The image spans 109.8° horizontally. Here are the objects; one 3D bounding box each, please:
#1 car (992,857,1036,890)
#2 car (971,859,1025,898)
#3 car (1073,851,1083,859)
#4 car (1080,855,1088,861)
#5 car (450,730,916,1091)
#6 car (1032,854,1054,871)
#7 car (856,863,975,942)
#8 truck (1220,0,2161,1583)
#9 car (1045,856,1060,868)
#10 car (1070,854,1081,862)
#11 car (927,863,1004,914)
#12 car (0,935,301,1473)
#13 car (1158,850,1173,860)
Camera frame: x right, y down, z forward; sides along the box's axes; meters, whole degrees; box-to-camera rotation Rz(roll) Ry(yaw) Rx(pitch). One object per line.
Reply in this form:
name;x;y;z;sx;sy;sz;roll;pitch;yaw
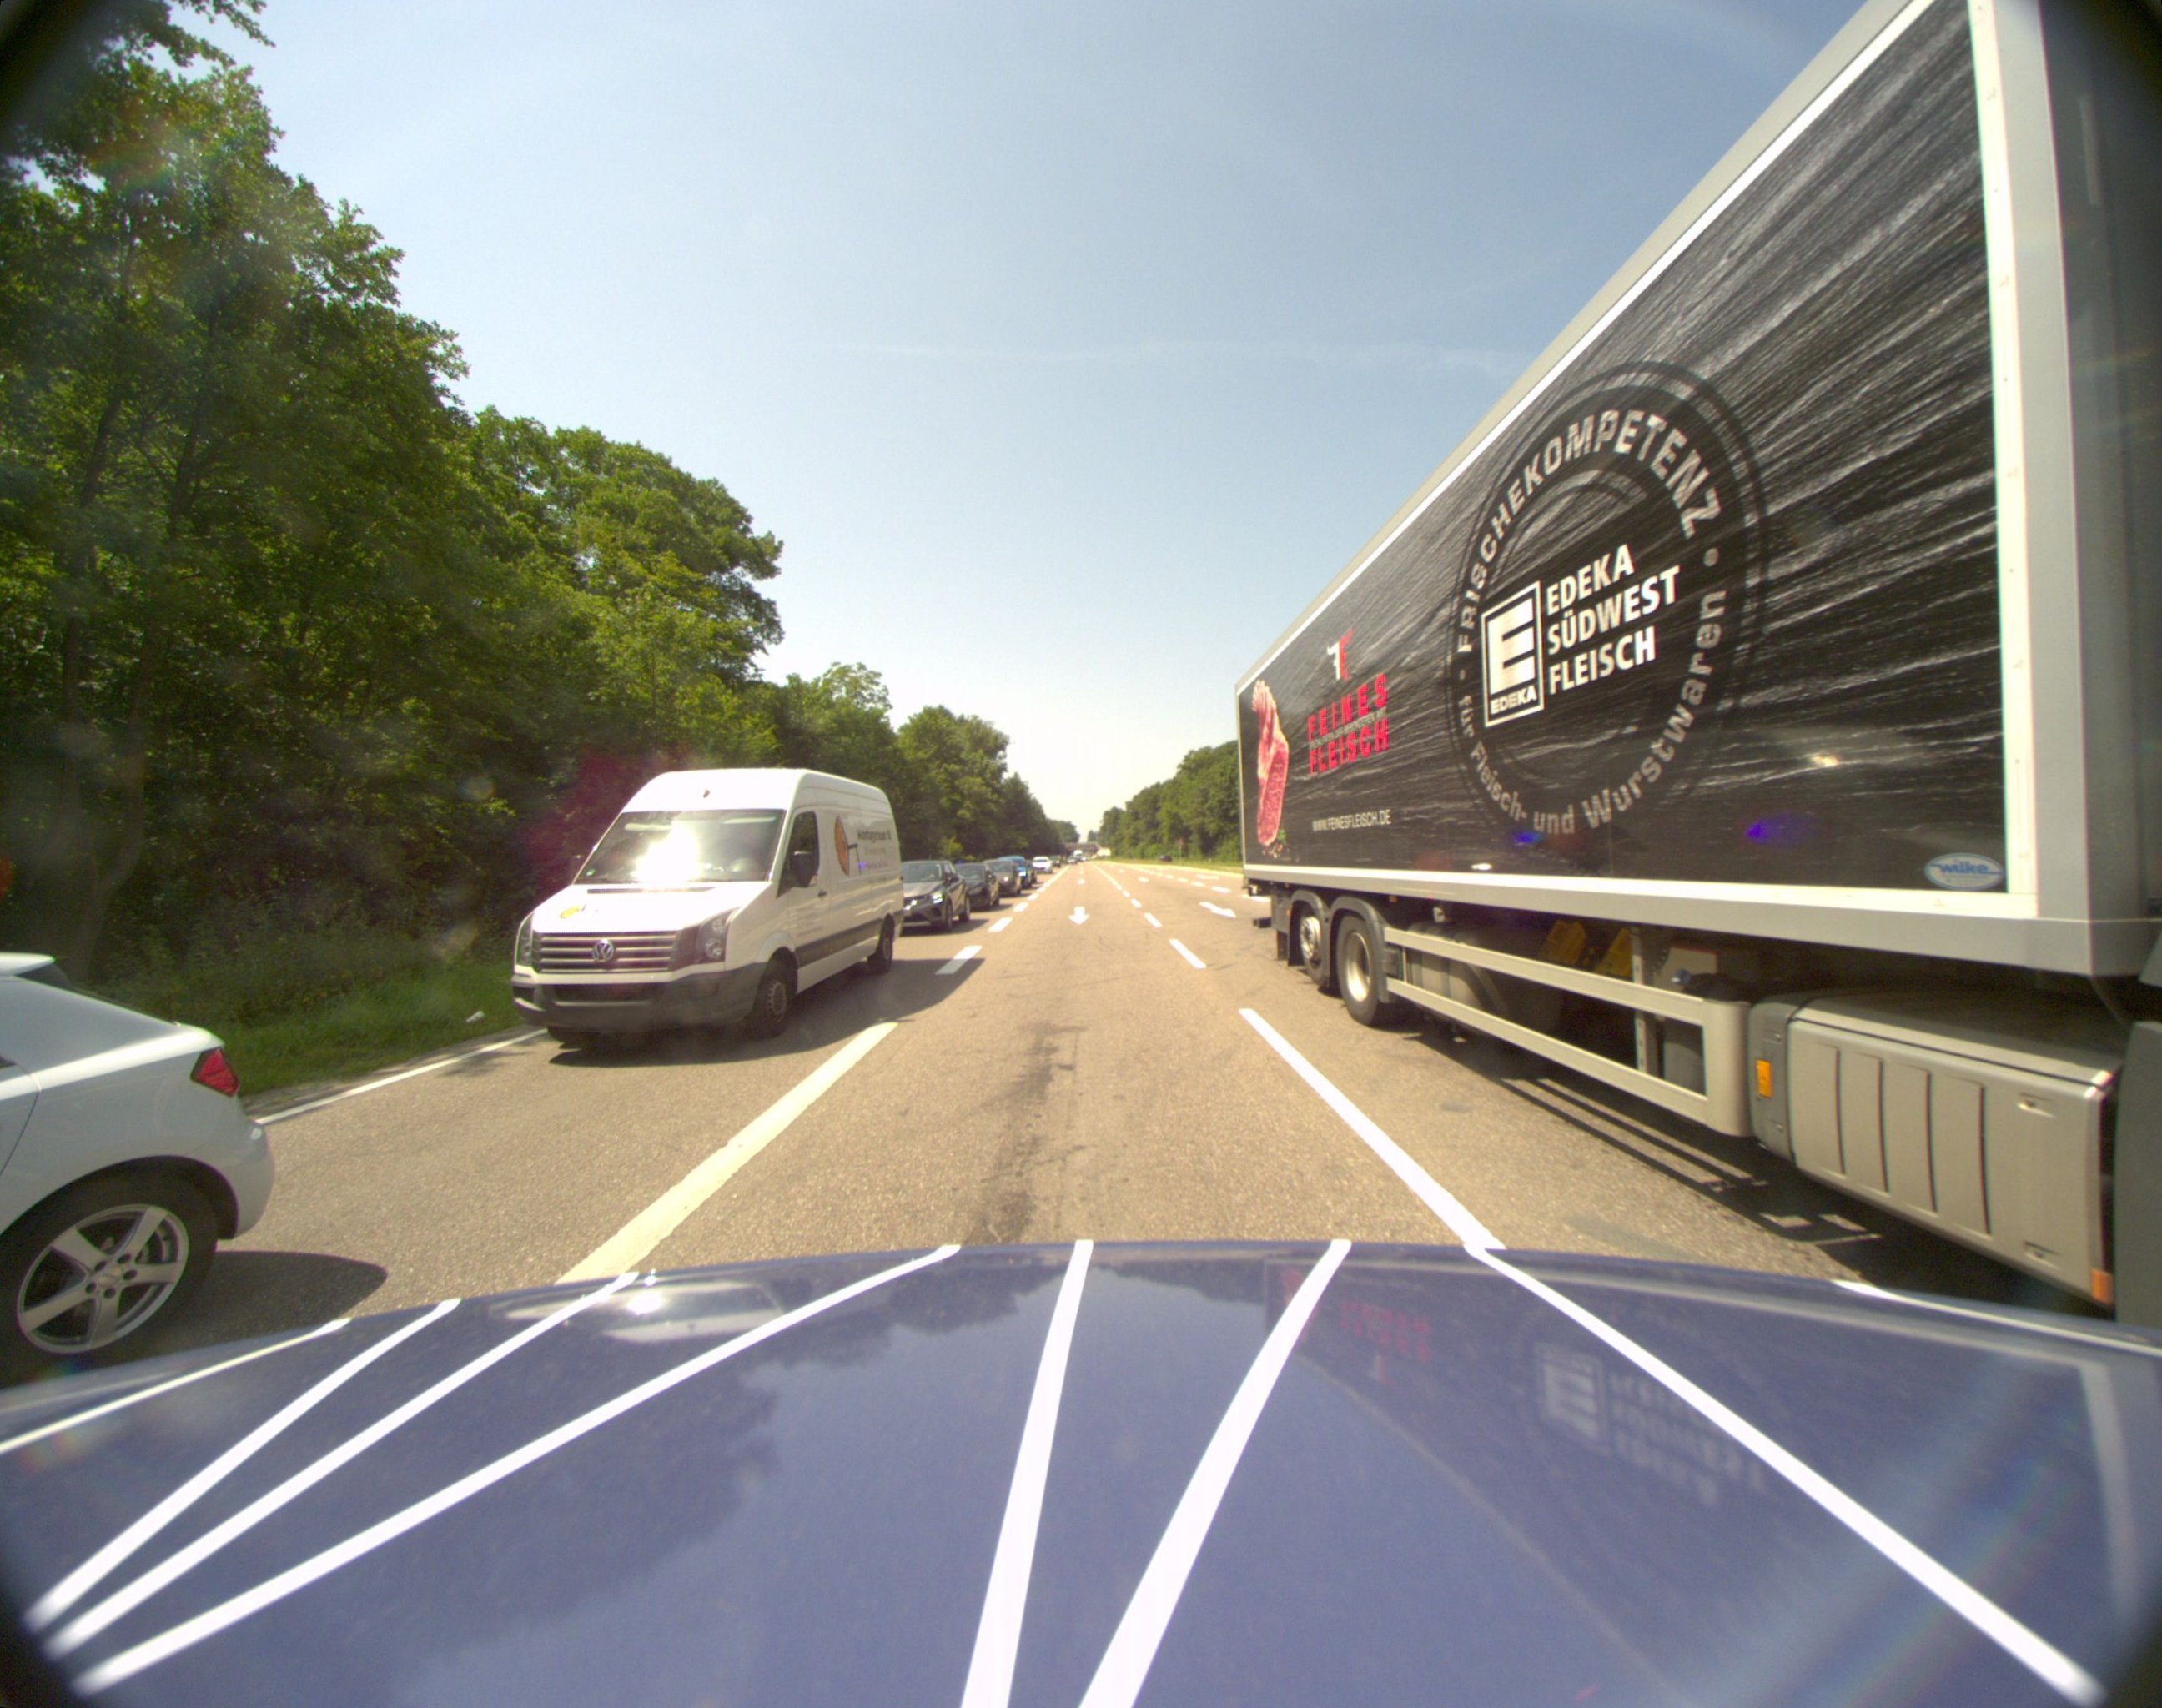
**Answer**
car;-3.203;0.893;36.998;1.796;1.431;4.228;-1;0;-1
car;-3.294;0.949;31.024;1.796;1.431;4.228;-1;0;-1
car;-0.718;0.150;162.064;1.992;1.575;4.364;-1;0;-1
car;0.702;0.945;202.079;1.999;1.543;4.000;0;0;0
car;-3.633;0.427;8.706;1.974;2.629;6.060;-2;0;1
car;-3.333;0.775;67.650;1.796;1.431;4.228;0;0;-1
car;-3.603;0.997;17.303;1.796;1.452;4.228;-2;0;-1
truck;3.501;-0.466;5.047;2.753;3.862;11.318;-2;0;-1
car;-3.649;0.964;97.667;1.796;1.431;4.228;-1;0;-1
car;-0.998;0.736;138.099;1.796;1.431;4.228;-1;0;-1
car;-3.477;0.999;23.550;1.796;1.348;4.228;-1;0;-1
car;-3.979;1.077;0.951;1.693;1.427;4.001;-3;0;3
car;14.176;0.148;126.960;1.999;1.543;3.999;-2;1;0
